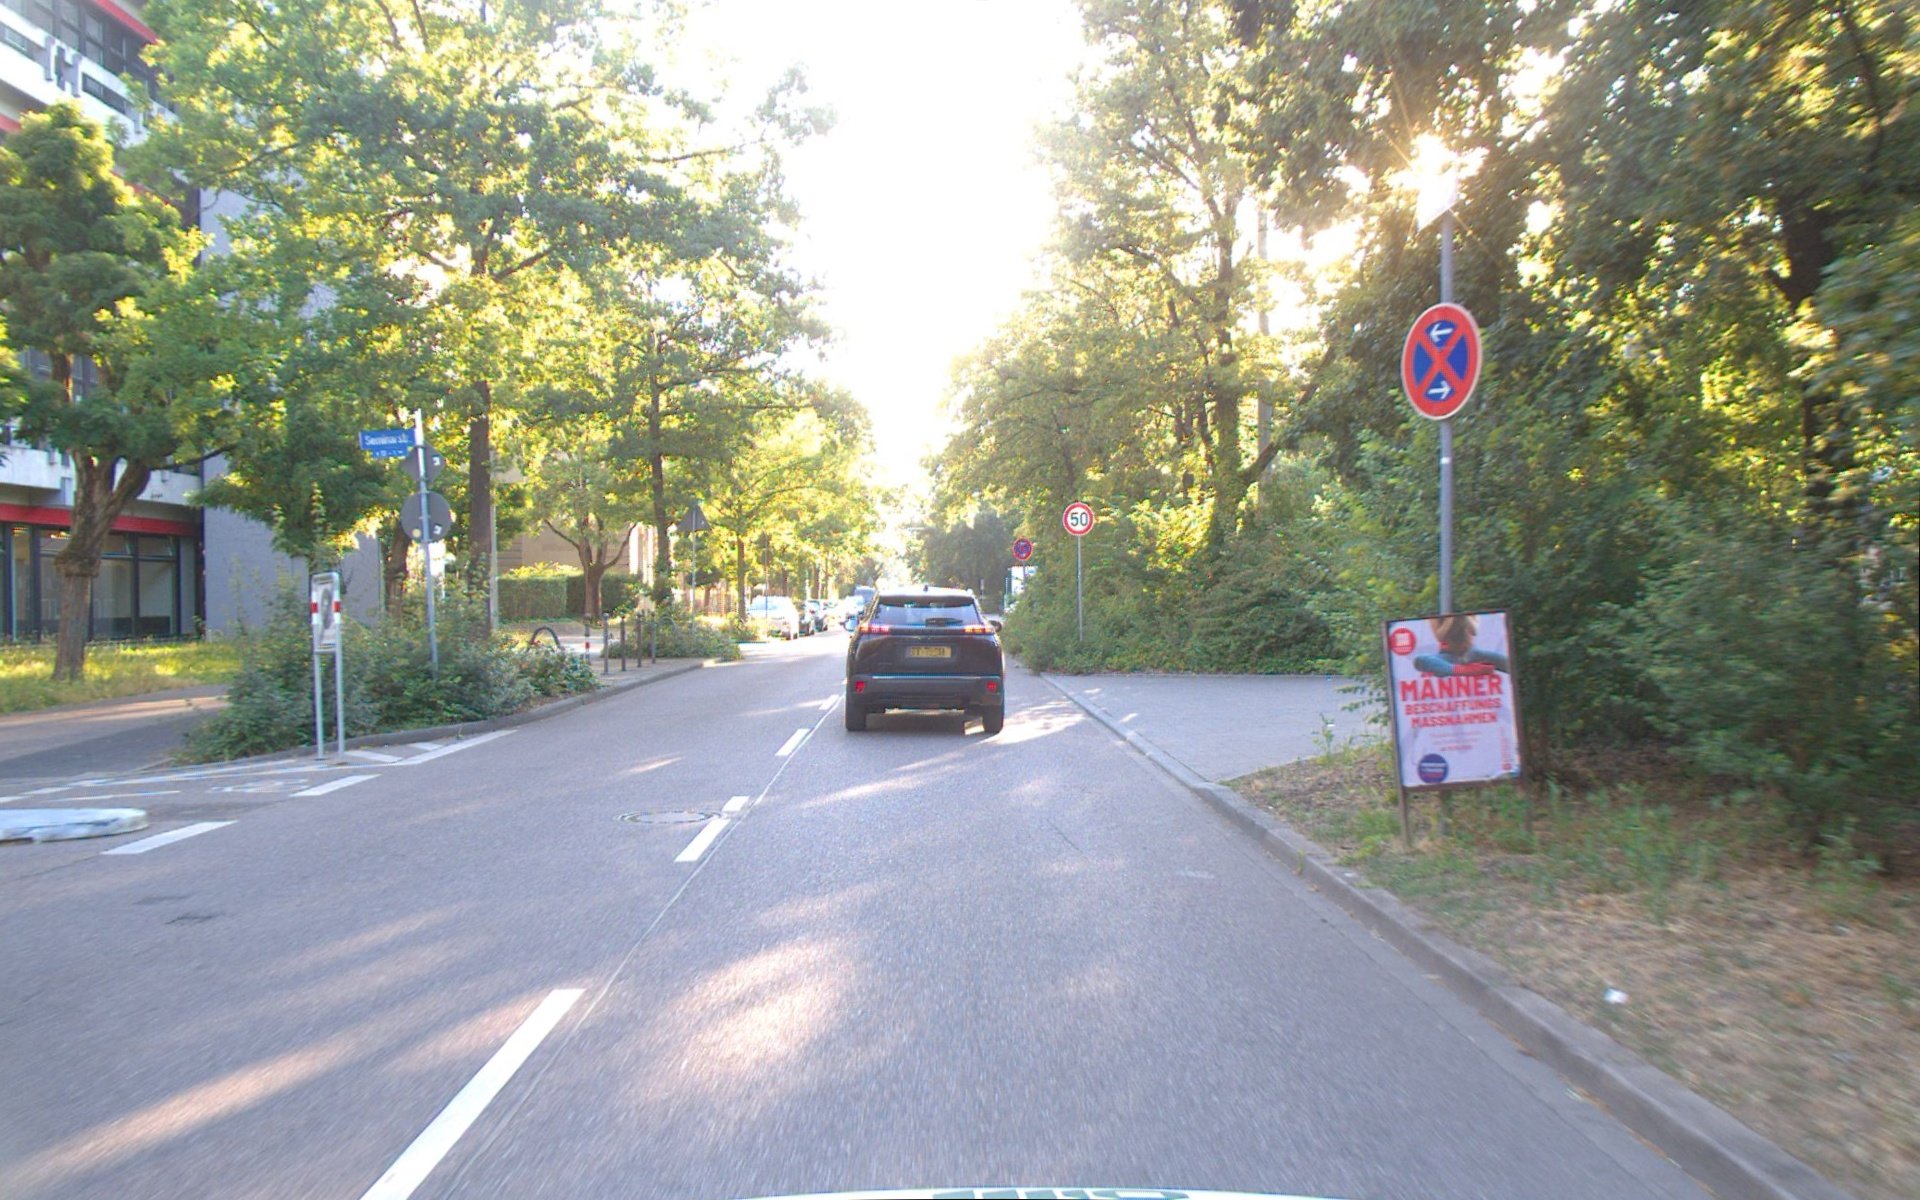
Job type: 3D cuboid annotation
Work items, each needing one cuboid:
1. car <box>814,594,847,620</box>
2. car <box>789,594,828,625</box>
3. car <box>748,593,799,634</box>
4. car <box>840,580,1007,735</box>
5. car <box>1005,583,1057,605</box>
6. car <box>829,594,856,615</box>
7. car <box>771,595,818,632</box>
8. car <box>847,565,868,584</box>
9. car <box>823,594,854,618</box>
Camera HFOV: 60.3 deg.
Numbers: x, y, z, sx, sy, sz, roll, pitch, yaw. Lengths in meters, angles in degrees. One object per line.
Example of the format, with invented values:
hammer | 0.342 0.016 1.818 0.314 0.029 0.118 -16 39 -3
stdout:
car | -7.313 0.379 93.269 1.775 1.378 3.996 -1 1 -5
car | -7.153 0.445 78.309 1.775 1.378 3.996 -1 1 -5
car | -6.842 0.465 60.740 1.775 1.378 3.995 -1 1 -6
car | -0.437 0.582 18.969 1.732 1.596 3.379 -1 1 -2
car | 5.574 -0.463 130.642 3.909 1.610 1.814 -1 0 -5
car | -7.901 0.285 110.864 1.775 1.378 3.996 -1 1 -5
car | -6.667 0.510 66.991 1.775 1.378 3.996 -1 1 -5
car | -10.294 -2.541 165.721 1.868 1.900 3.948 -1 1 -1
car | -7.427 0.345 100.816 1.775 1.378 3.975 -1 1 -5
